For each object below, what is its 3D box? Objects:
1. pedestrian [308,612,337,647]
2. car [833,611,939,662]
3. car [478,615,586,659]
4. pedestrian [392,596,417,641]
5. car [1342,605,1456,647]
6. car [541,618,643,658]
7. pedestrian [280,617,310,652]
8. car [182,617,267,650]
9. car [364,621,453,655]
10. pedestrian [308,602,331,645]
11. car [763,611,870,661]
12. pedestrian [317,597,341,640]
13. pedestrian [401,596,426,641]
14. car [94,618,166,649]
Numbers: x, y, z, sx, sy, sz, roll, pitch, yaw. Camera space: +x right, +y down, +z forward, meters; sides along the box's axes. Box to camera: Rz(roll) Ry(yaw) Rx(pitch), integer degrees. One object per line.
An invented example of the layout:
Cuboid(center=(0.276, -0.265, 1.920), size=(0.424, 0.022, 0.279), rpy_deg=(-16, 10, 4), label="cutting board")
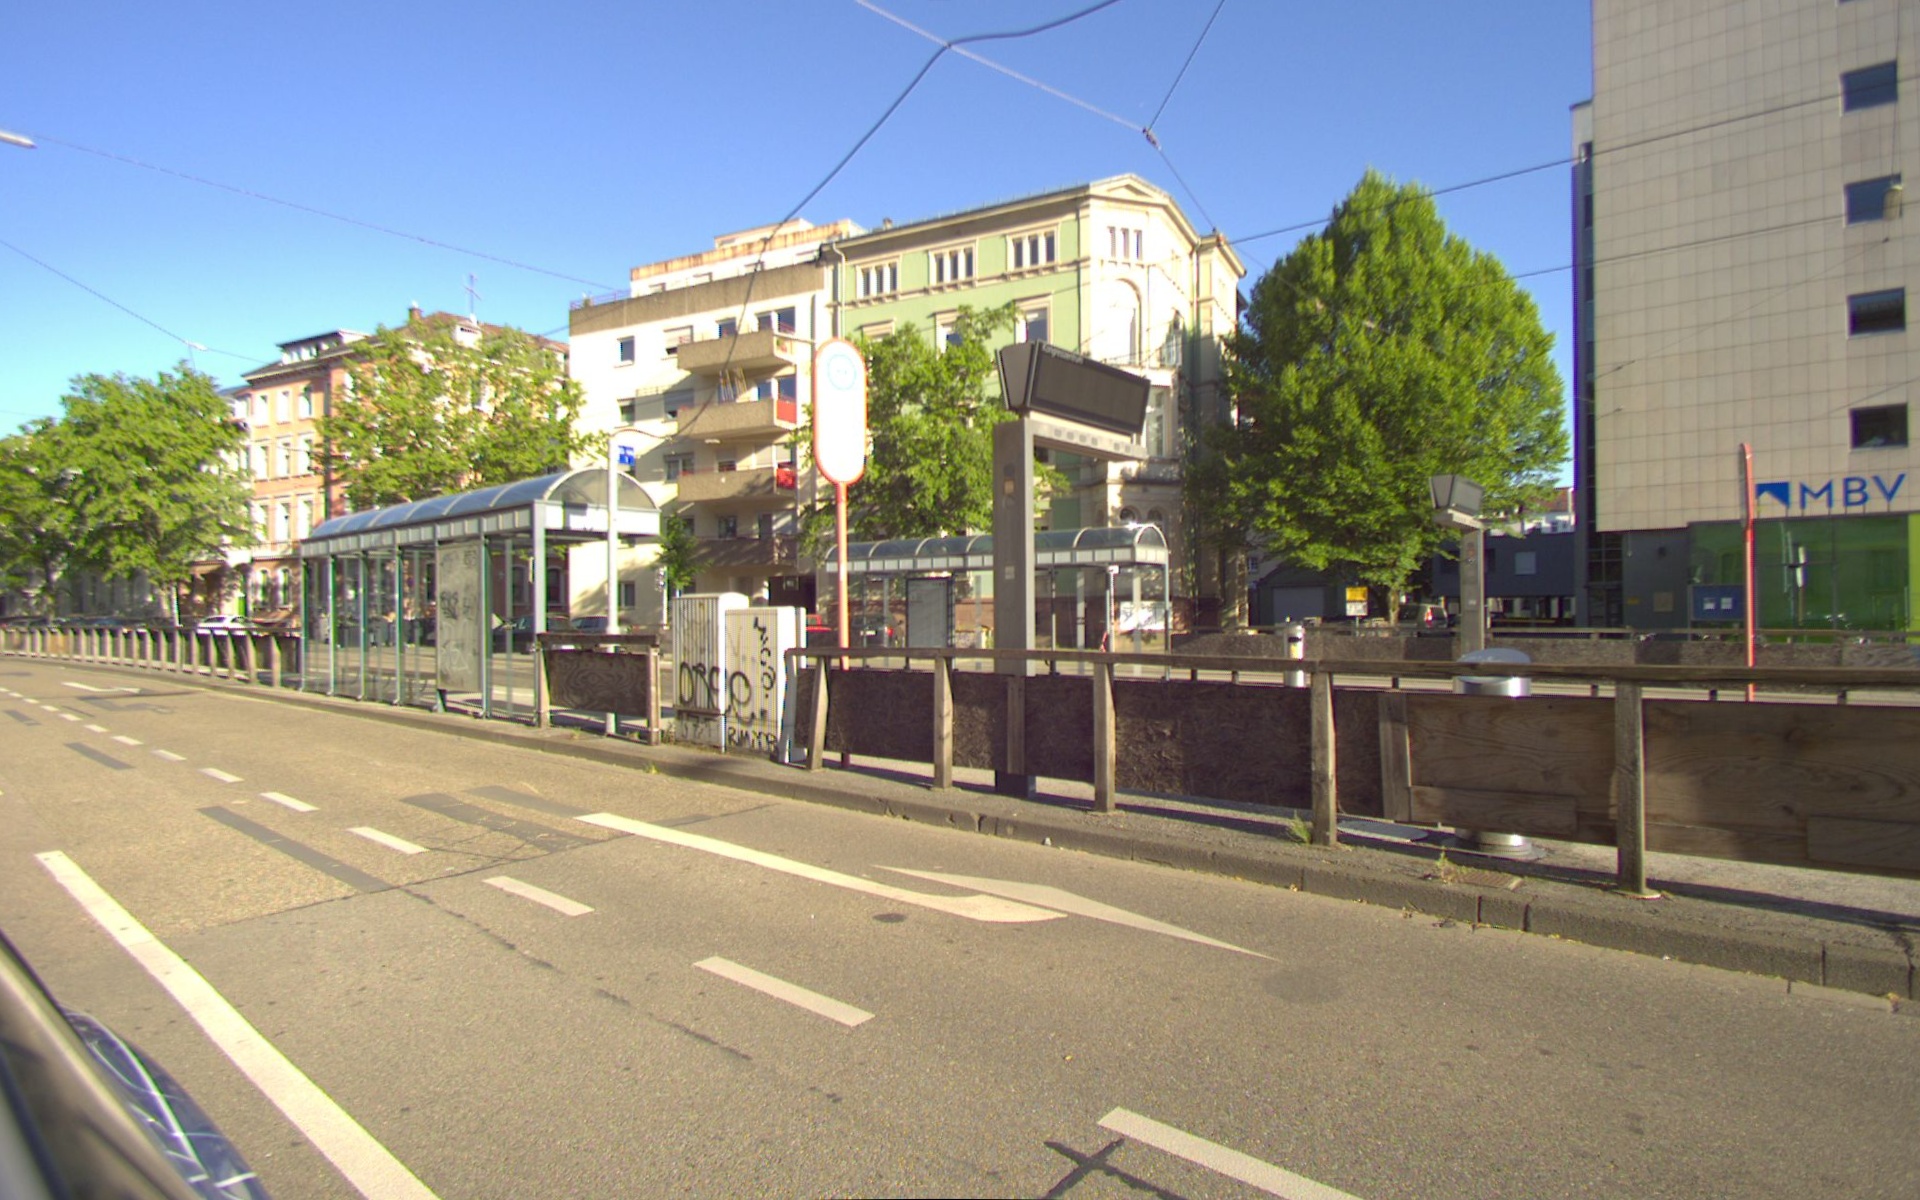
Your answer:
Cuboid(center=(-31.886, 1.475, 50.640), size=(1.016, 1.733, 0.846), rpy_deg=(-1, -2, 32), label="pedestrian")
Cuboid(center=(-2.376, 1.178, 33.440), size=(1.754, 1.594, 3.965), rpy_deg=(-1, -1, 26), label="car")
Cuboid(center=(-15.290, 1.311, 36.120), size=(3.988, 1.500, 1.629), rpy_deg=(-1, -2, 33), label="car")
Cuboid(center=(-27.838, 0.922, 50.746), size=(0.753, 2.224, 0.804), rpy_deg=(-1, -2, 30), label="pedestrian")
Cuboid(center=(15.780, 0.895, 36.462), size=(1.544, 1.423, 3.430), rpy_deg=(-1, 0, -38), label="car")
Cuboid(center=(-13.993, 1.420, 38.490), size=(3.725, 1.438, 1.637), rpy_deg=(-1, -1, 29), label="car")
Cuboid(center=(-31.500, 1.649, 47.948), size=(0.888, 1.641, 0.859), rpy_deg=(-1, -2, 31), label="pedestrian")
Cuboid(center=(-39.410, 1.771, 54.339), size=(1.825, 1.721, 4.130), rpy_deg=(0, -1, -5), label="car")
Cuboid(center=(-23.796, 1.630, 43.635), size=(3.986, 1.407, 1.592), rpy_deg=(-1, -2, 32), label="car")
Cuboid(center=(-34.113, 1.250, 53.872), size=(0.755, 2.224, 0.803), rpy_deg=(-1, -2, 36), label="pedestrian")
Cuboid(center=(-4.810, 1.210, 34.487), size=(1.754, 1.594, 3.965), rpy_deg=(-1, -1, 26), label="car")
Cuboid(center=(-32.944, 0.989, 52.813), size=(0.753, 2.224, 0.804), rpy_deg=(-1, -2, 30), label="pedestrian")
Cuboid(center=(-27.153, 0.913, 50.259), size=(0.753, 2.224, 0.804), rpy_deg=(-1, -2, 30), label="pedestrian")
Cuboid(center=(-39.377, 1.592, 47.989), size=(3.870, 1.419, 1.650), rpy_deg=(-1, -2, 35), label="car")
